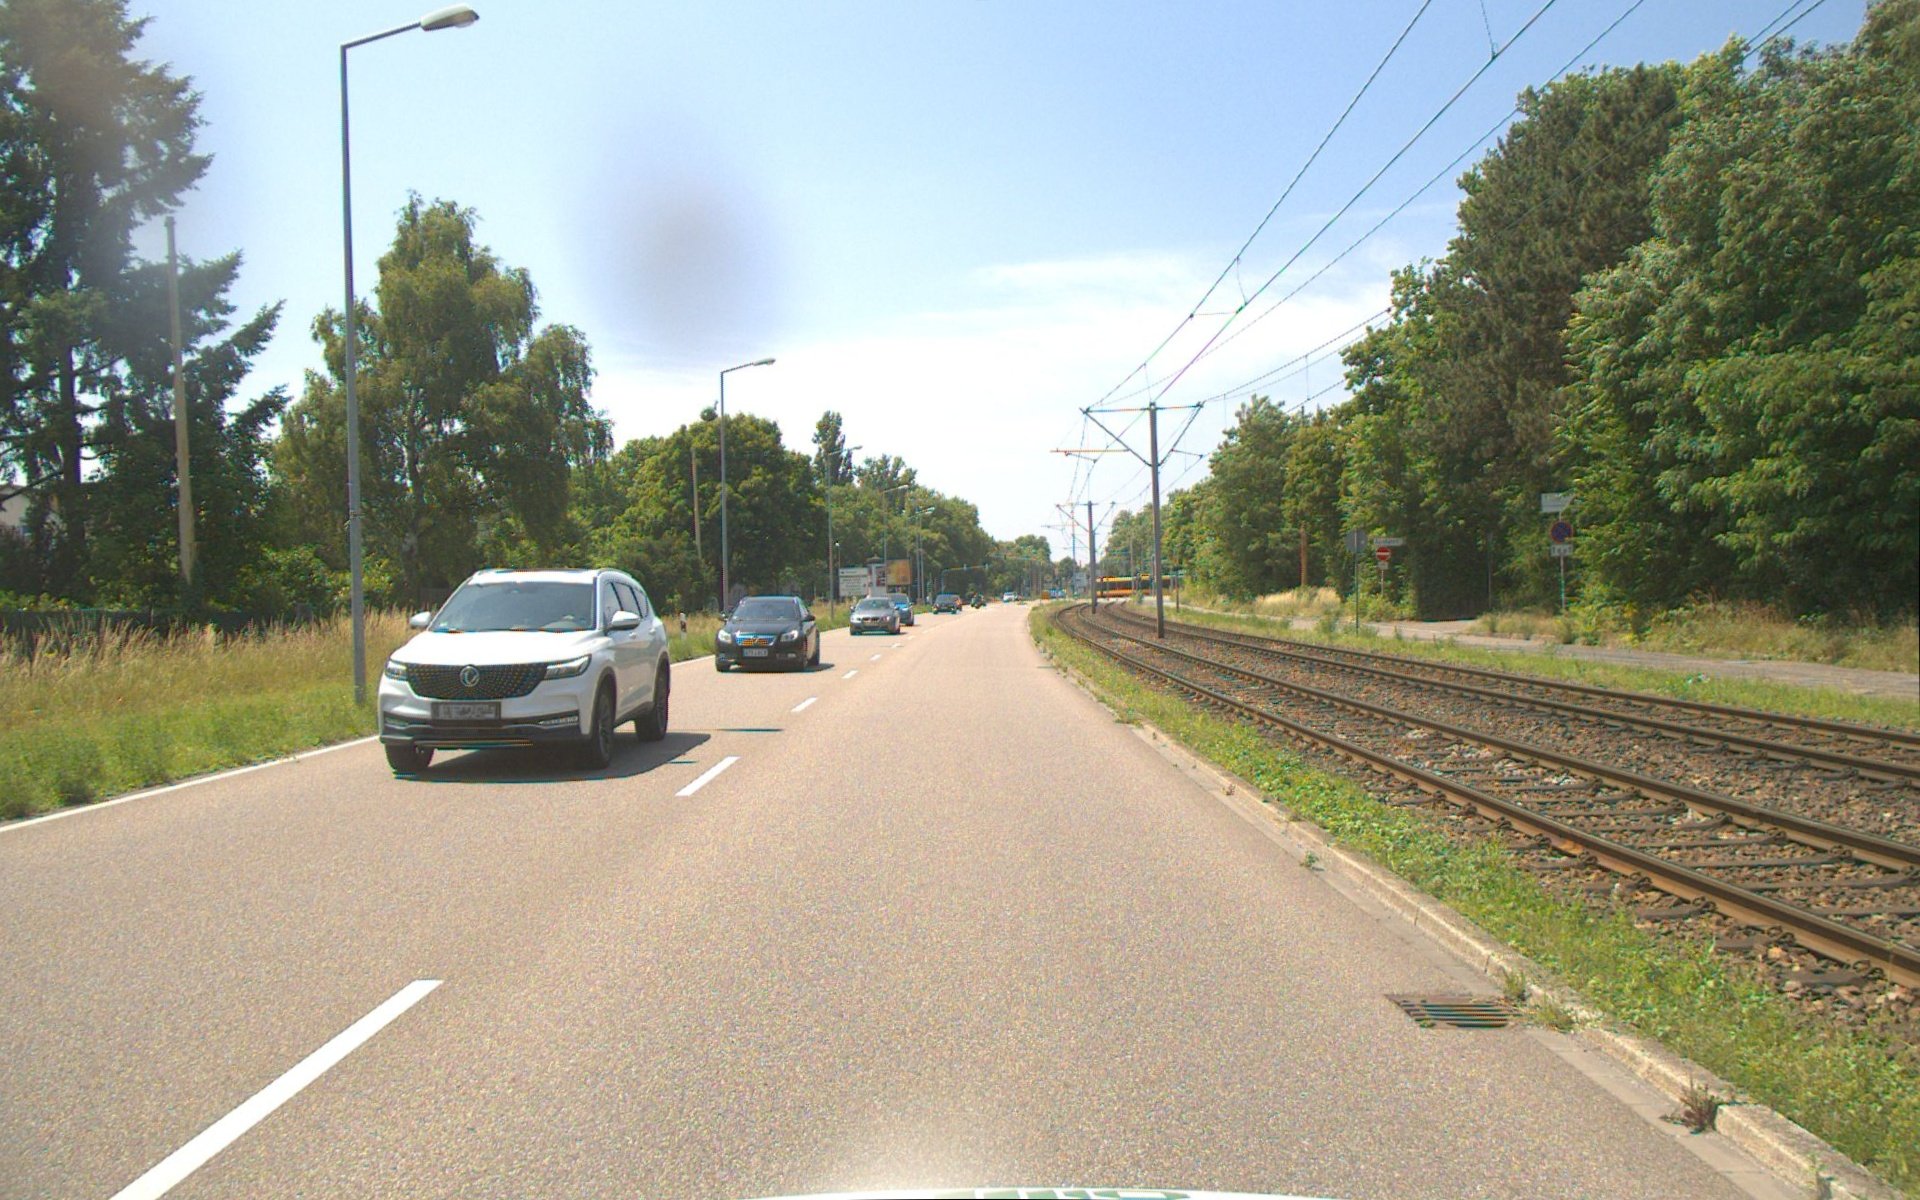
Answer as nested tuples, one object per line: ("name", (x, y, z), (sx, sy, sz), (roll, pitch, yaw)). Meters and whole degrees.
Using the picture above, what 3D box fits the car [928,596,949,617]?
("car", (-1.650, 0.487, 127.682), (1.594, 1.516, 4.363), (-1, 0, 0))

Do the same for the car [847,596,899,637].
("car", (-3.335, 0.618, 63.988), (1.780, 1.519, 4.363), (-1, 0, 0))

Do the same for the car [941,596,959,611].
("car", (-0.884, 0.297, 148.459), (1.594, 1.338, 4.363), (-1, 0, 0))

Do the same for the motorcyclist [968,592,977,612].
("motorcyclist", (1.222, 0.212, 167.828), (0.873, 1.938, 1.015), (-1, 0, 1))

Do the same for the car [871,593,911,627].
("car", (-3.310, 0.478, 80.134), (1.780, 1.565, 4.363), (-1, 0, 0))

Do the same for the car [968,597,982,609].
("car", (1.882, 0.386, 206.645), (1.593, 1.419, 4.365), (-1, 0, 4))

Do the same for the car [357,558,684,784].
("car", (-4.017, 0.589, 16.001), (1.896, 1.827, 4.711), (-1, 0, 0))

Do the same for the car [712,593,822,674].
("car", (-3.960, 0.661, 34.569), (1.780, 1.555, 4.363), (-1, 0, 0))

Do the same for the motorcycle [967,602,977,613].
("motorcycle", (1.179, 0.776, 167.906), (0.950, 1.137, 2.733), (-1, 0, 1))
